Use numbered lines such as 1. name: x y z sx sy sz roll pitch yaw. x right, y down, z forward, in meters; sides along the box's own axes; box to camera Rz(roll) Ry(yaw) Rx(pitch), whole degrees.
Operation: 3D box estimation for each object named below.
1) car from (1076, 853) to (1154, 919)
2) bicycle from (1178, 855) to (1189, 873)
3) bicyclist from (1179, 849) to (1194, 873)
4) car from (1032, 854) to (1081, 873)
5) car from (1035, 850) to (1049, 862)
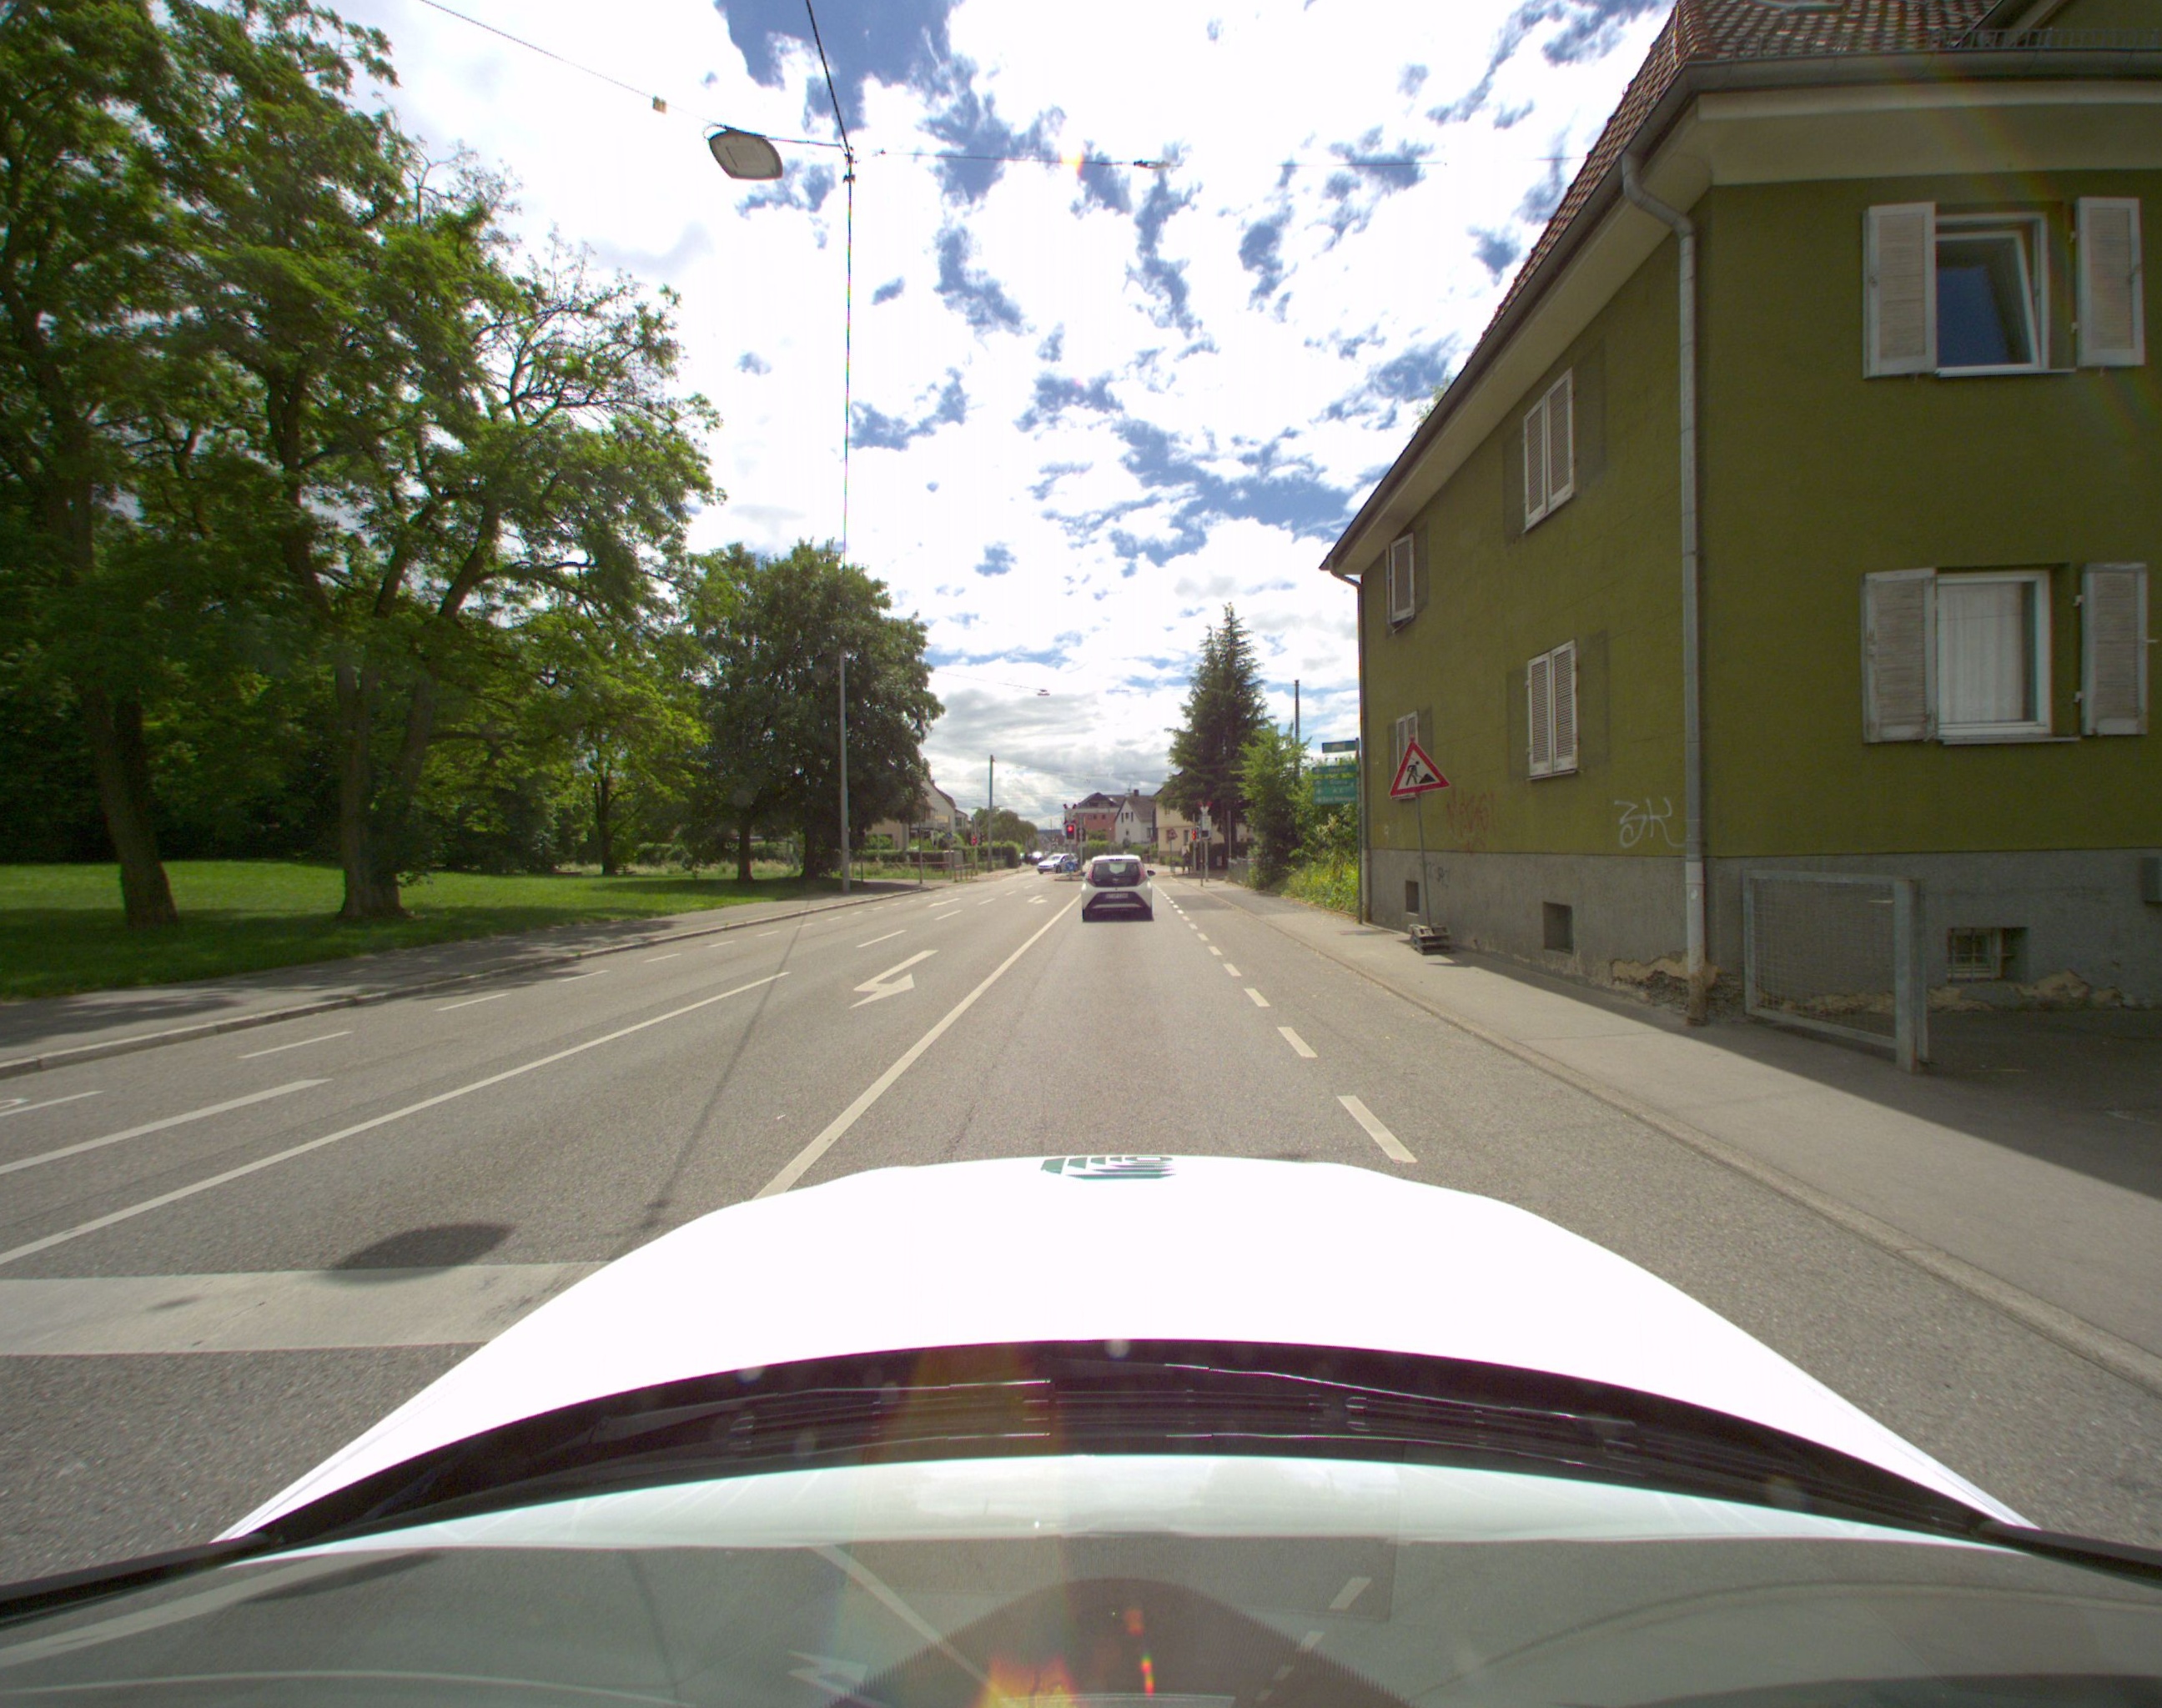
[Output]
1. car: 0.868 0.712 19.836 1.713 1.442 3.712 0 0 4
2. bicycle: 6.956 0.675 55.349 0.456 1.172 1.478 -4 2 -2
3. bicyclist: 7.163 0.471 55.262 0.839 1.553 0.755 -4 2 -3
4. car: -1.912 0.689 63.943 1.887 1.441 4.124 0 0 31
5. car: -5.487 0.282 115.071 1.989 1.719 3.995 0 0 -3
